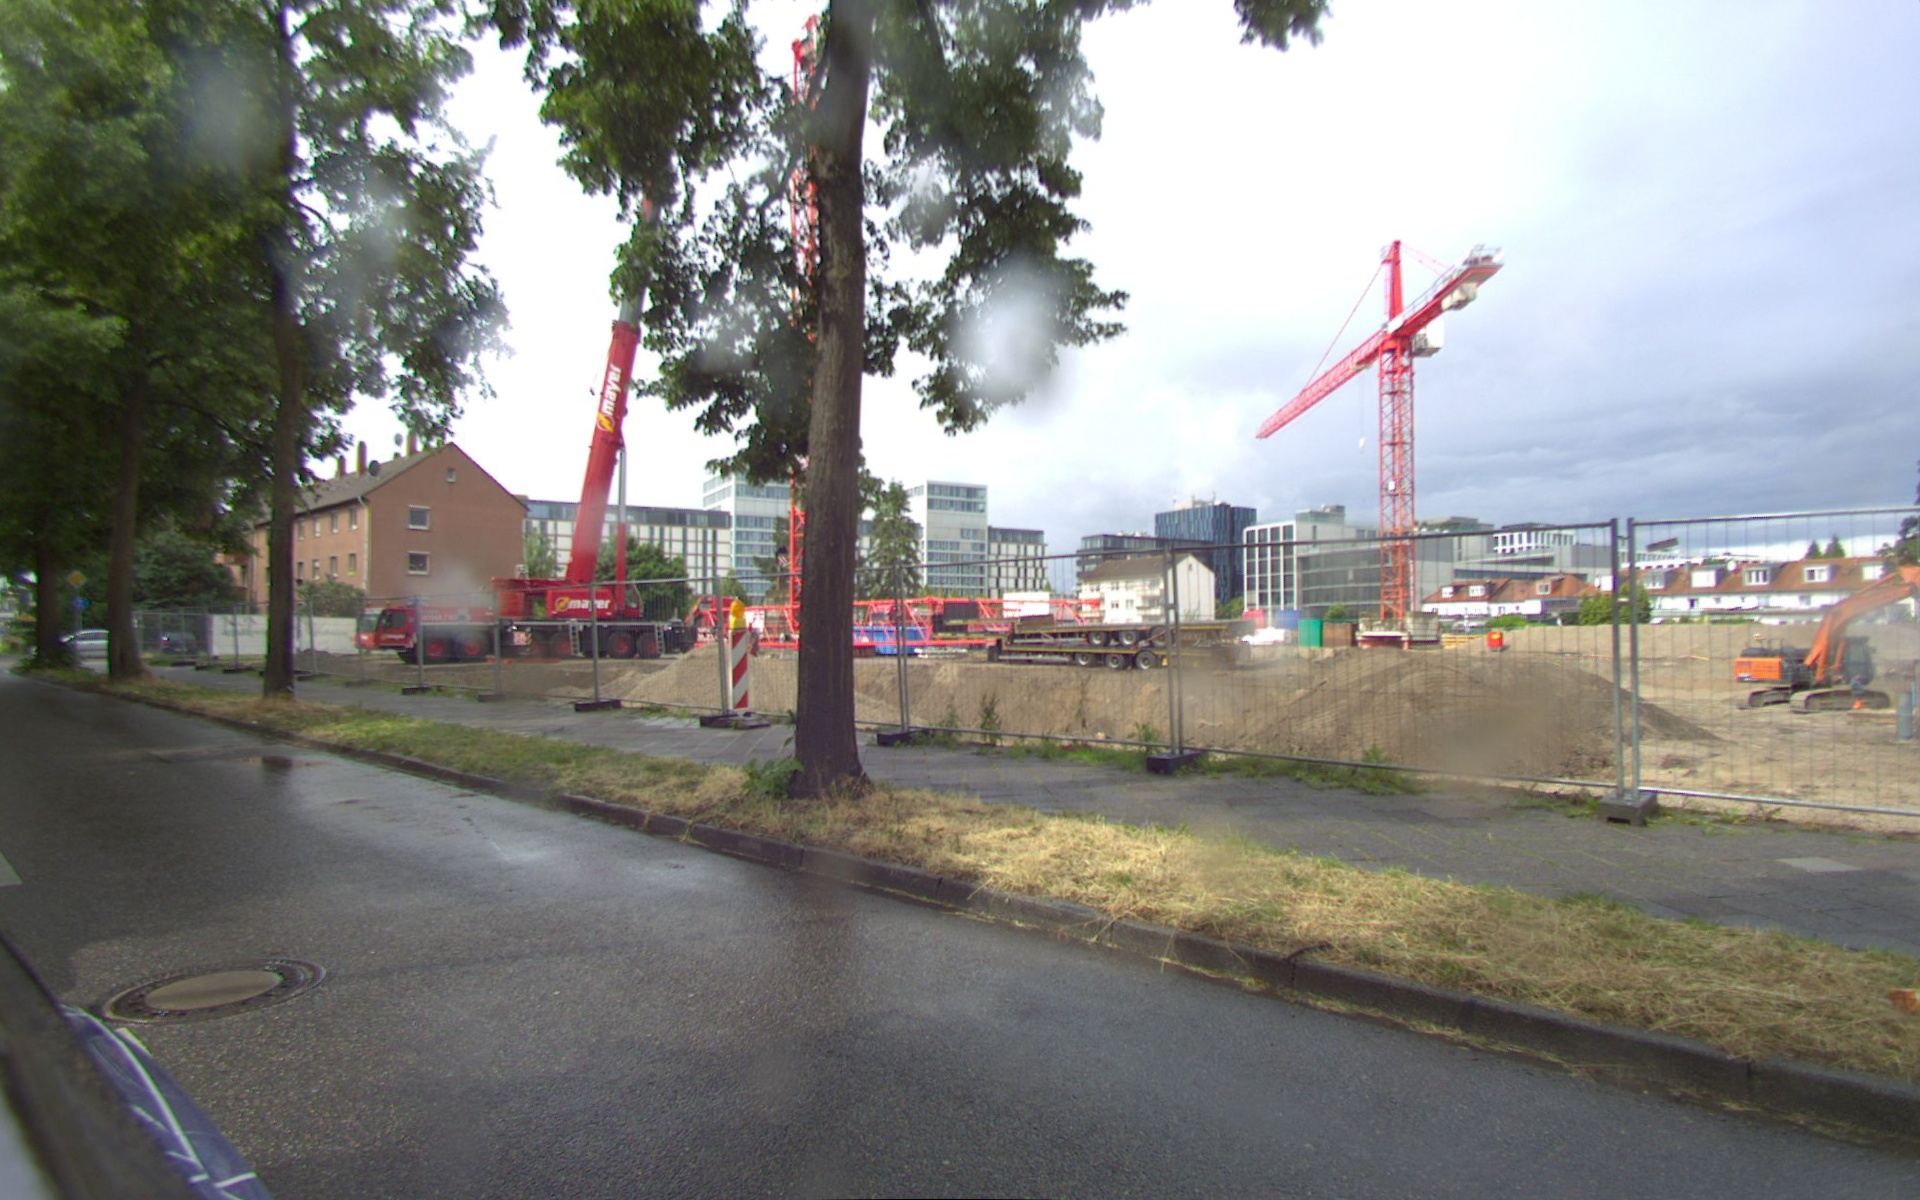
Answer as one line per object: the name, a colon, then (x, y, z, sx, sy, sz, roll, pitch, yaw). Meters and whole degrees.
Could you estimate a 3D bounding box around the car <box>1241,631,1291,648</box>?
car: (31.008, 3.986, 102.574, 4.582, 1.529, 1.797, -1, 0, 44)

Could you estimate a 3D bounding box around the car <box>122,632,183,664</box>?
car: (-42.246, 2.462, 52.915, 3.996, 1.541, 1.672, -1, 0, 39)

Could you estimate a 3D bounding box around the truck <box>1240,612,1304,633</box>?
truck: (33.073, 2.381, 107.299, 6.292, 2.095, 1.884, -1, 0, 25)

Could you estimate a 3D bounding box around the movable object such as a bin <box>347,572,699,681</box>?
movable object such as a bin: (-20.477, 1.056, 49.222, 3.102, 4.592, 15.727, -1, 0, 44)

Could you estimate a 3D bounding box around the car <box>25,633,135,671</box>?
car: (-40.975, 2.372, 47.195, 3.812, 1.564, 1.700, -1, 0, -41)

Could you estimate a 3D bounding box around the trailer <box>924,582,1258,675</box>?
trailer: (4.802, 1.090, 41.628, 14.302, 3.257, 2.930, -1, 1, 41)
